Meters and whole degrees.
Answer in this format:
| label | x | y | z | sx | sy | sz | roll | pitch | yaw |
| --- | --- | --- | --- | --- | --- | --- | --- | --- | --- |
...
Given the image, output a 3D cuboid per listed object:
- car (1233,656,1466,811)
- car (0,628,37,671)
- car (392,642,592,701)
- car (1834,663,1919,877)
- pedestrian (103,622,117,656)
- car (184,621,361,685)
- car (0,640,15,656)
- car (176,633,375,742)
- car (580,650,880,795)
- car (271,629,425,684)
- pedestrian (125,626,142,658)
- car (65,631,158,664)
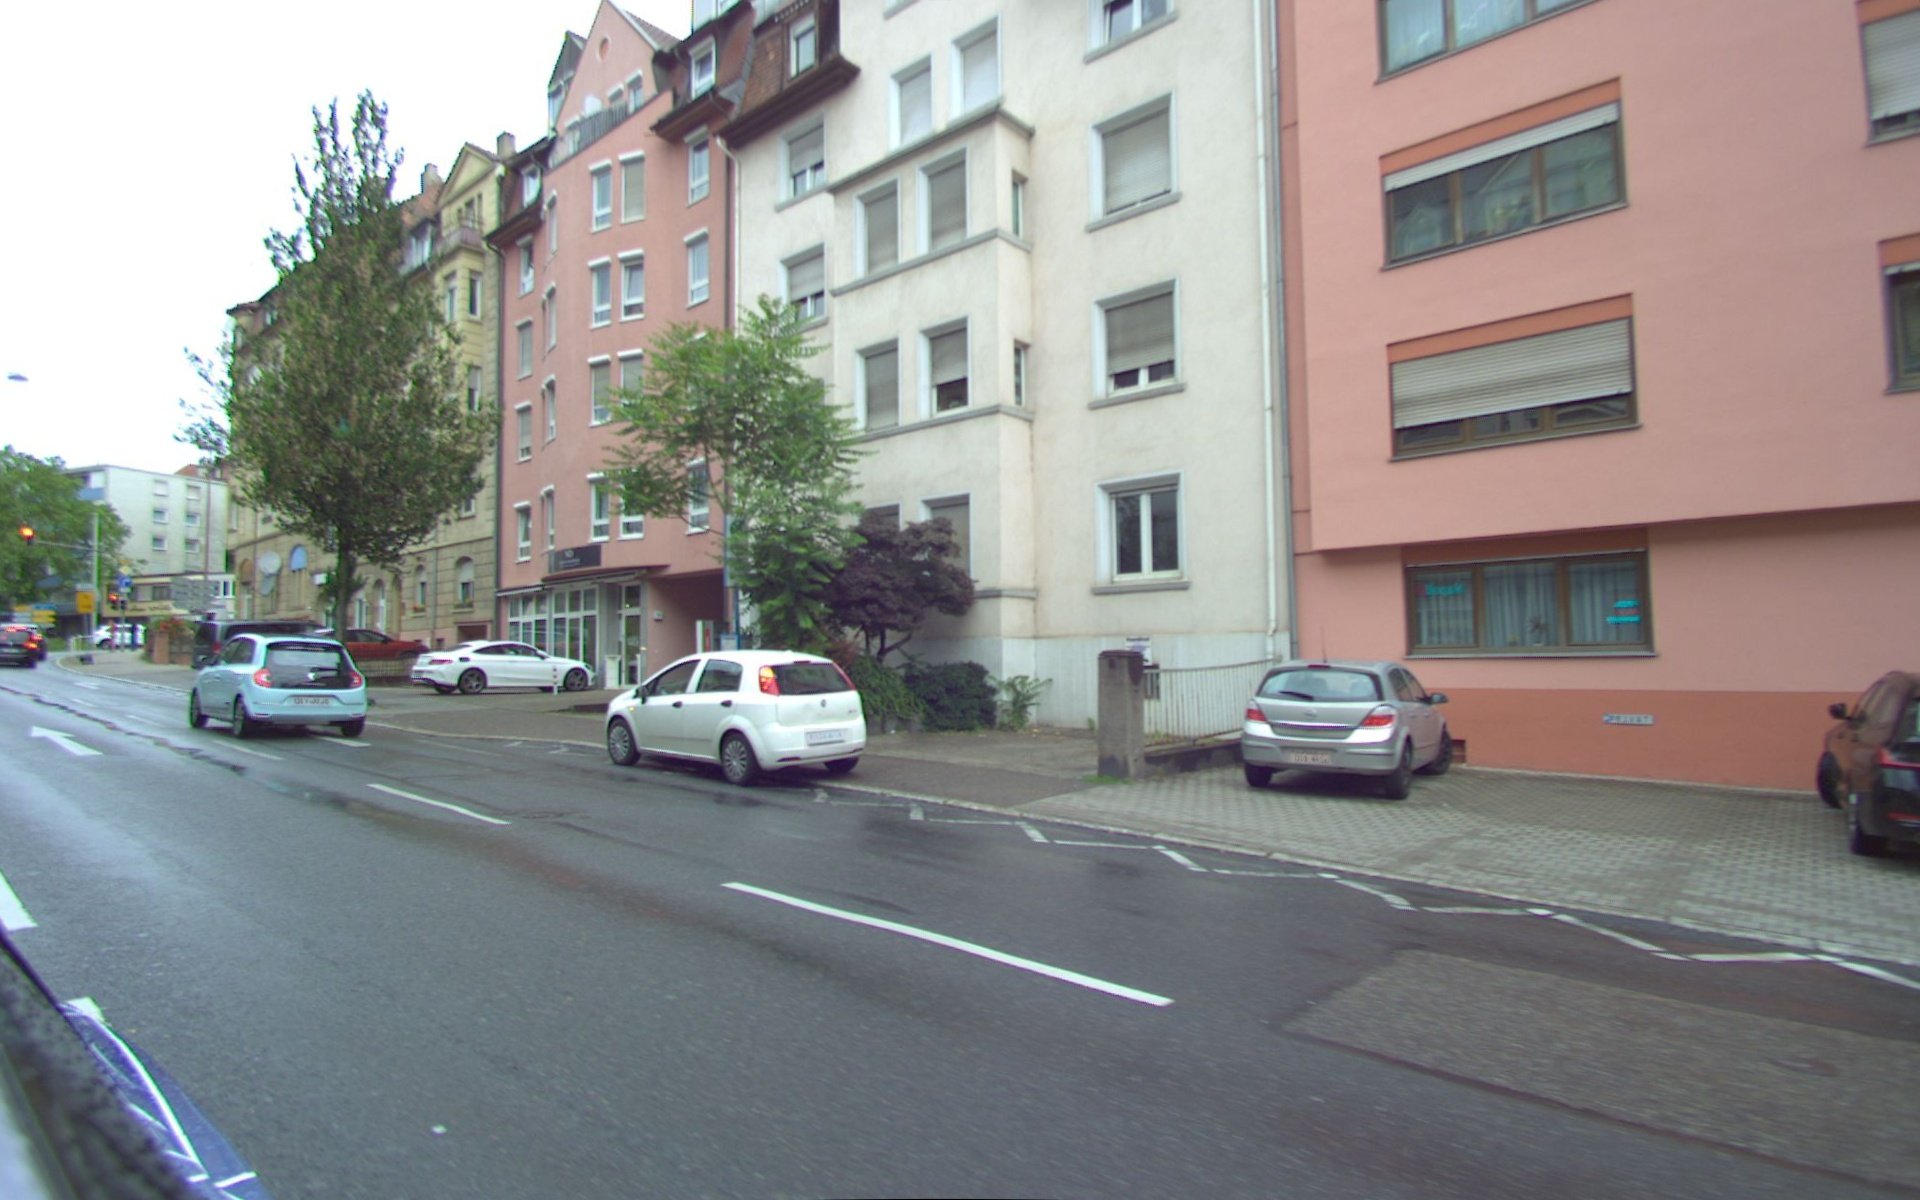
| label | x | y | z | sx | sy | sz | roll | pitch | yaw |
| --- | --- | --- | --- | --- | --- | --- | --- | --- | --- |
| car | 4.703 | 1.420 | 11.906 | 1.787 | 1.468 | 3.849 | -1 | -4 | 33 |
| car | -39.249 | 2.019 | 41.720 | 1.601 | 1.662 | 4.425 | 6 | -6 | -42 |
| car | -12.352 | 1.881 | 26.979 | 1.766 | 1.412 | 4.501 | -2 | -4 | 40 |
| car | 8.504 | 1.271 | 8.303 | 1.790 | 1.463 | 4.388 | -1 | -4 | 38 |
| pedestrian | -44.790 | 2.058 | 53.337 | 0.516 | 1.787 | 0.694 | 0 | -1 | -43 |
| car | -23.276 | 1.739 | 34.455 | 1.856 | 1.953 | 4.640 | -2 | -1 | 31 |
| car | -88.040 | 4.367 | 91.357 | 1.790 | 1.426 | 3.697 | 0 | -1 | 7 |
| car | -10.934 | 1.332 | 16.080 | 3.752 | 1.520 | 1.619 | -1 | -6 | 41 |
| car | -2.946 | 1.372 | 12.517 | 4.004 | 1.457 | 1.603 | -2 | -3 | 42 |
| car | -20.639 | 1.852 | 34.245 | 1.896 | 1.602 | 4.055 | -1 | 0 | 40 |
| pedestrian | -44.983 | 2.300 | 55.068 | 0.829 | 1.715 | 0.629 | -2 | -1 | 43 |
| car | -55.236 | 3.056 | 65.981 | 4.379 | 2.029 | 1.922 | 0 | -1 | -28 |
